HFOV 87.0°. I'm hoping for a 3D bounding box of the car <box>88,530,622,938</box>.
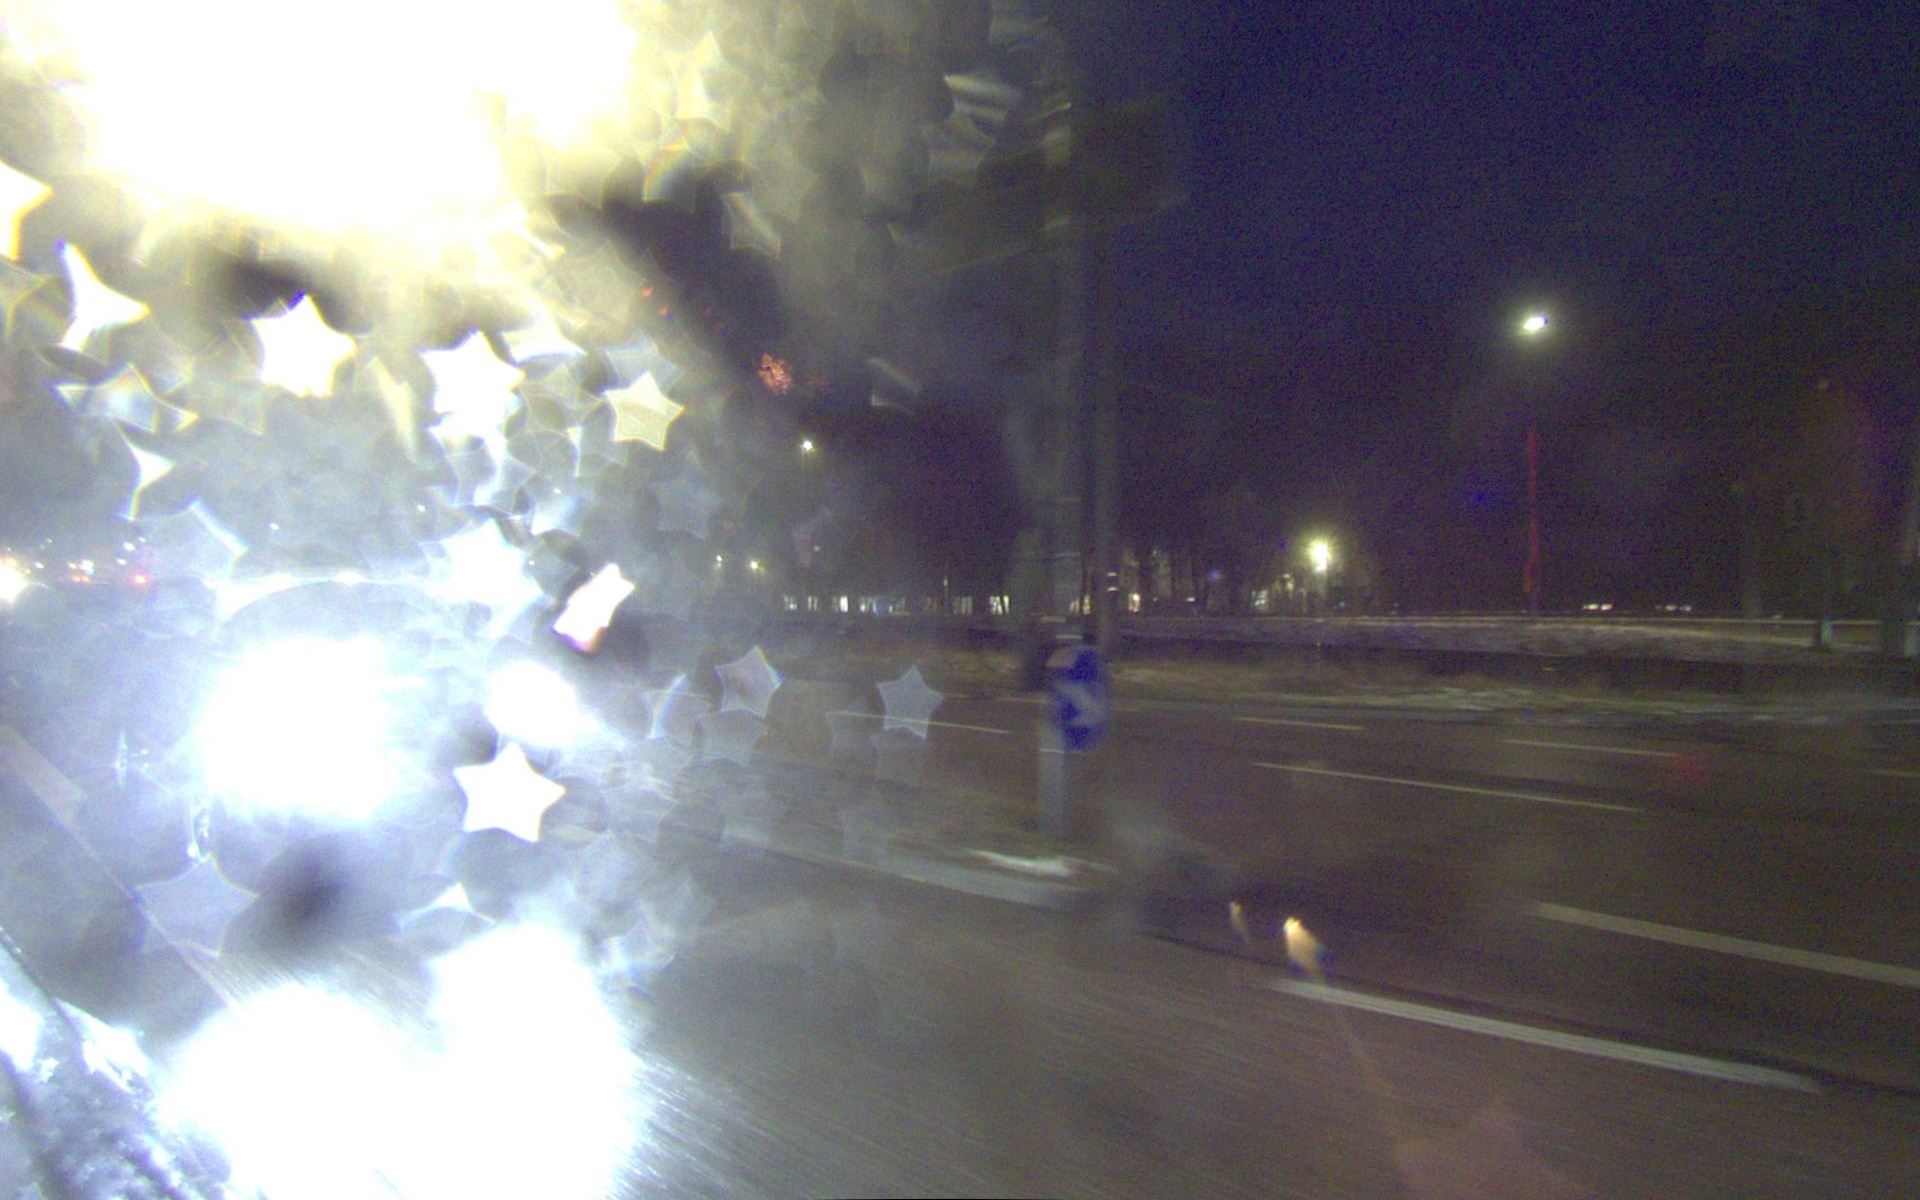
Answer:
[{"bbox_3d":[-4.333,0.591,6.885,4.525,1.857,1.971,0,1,44],"label":"car"}]
